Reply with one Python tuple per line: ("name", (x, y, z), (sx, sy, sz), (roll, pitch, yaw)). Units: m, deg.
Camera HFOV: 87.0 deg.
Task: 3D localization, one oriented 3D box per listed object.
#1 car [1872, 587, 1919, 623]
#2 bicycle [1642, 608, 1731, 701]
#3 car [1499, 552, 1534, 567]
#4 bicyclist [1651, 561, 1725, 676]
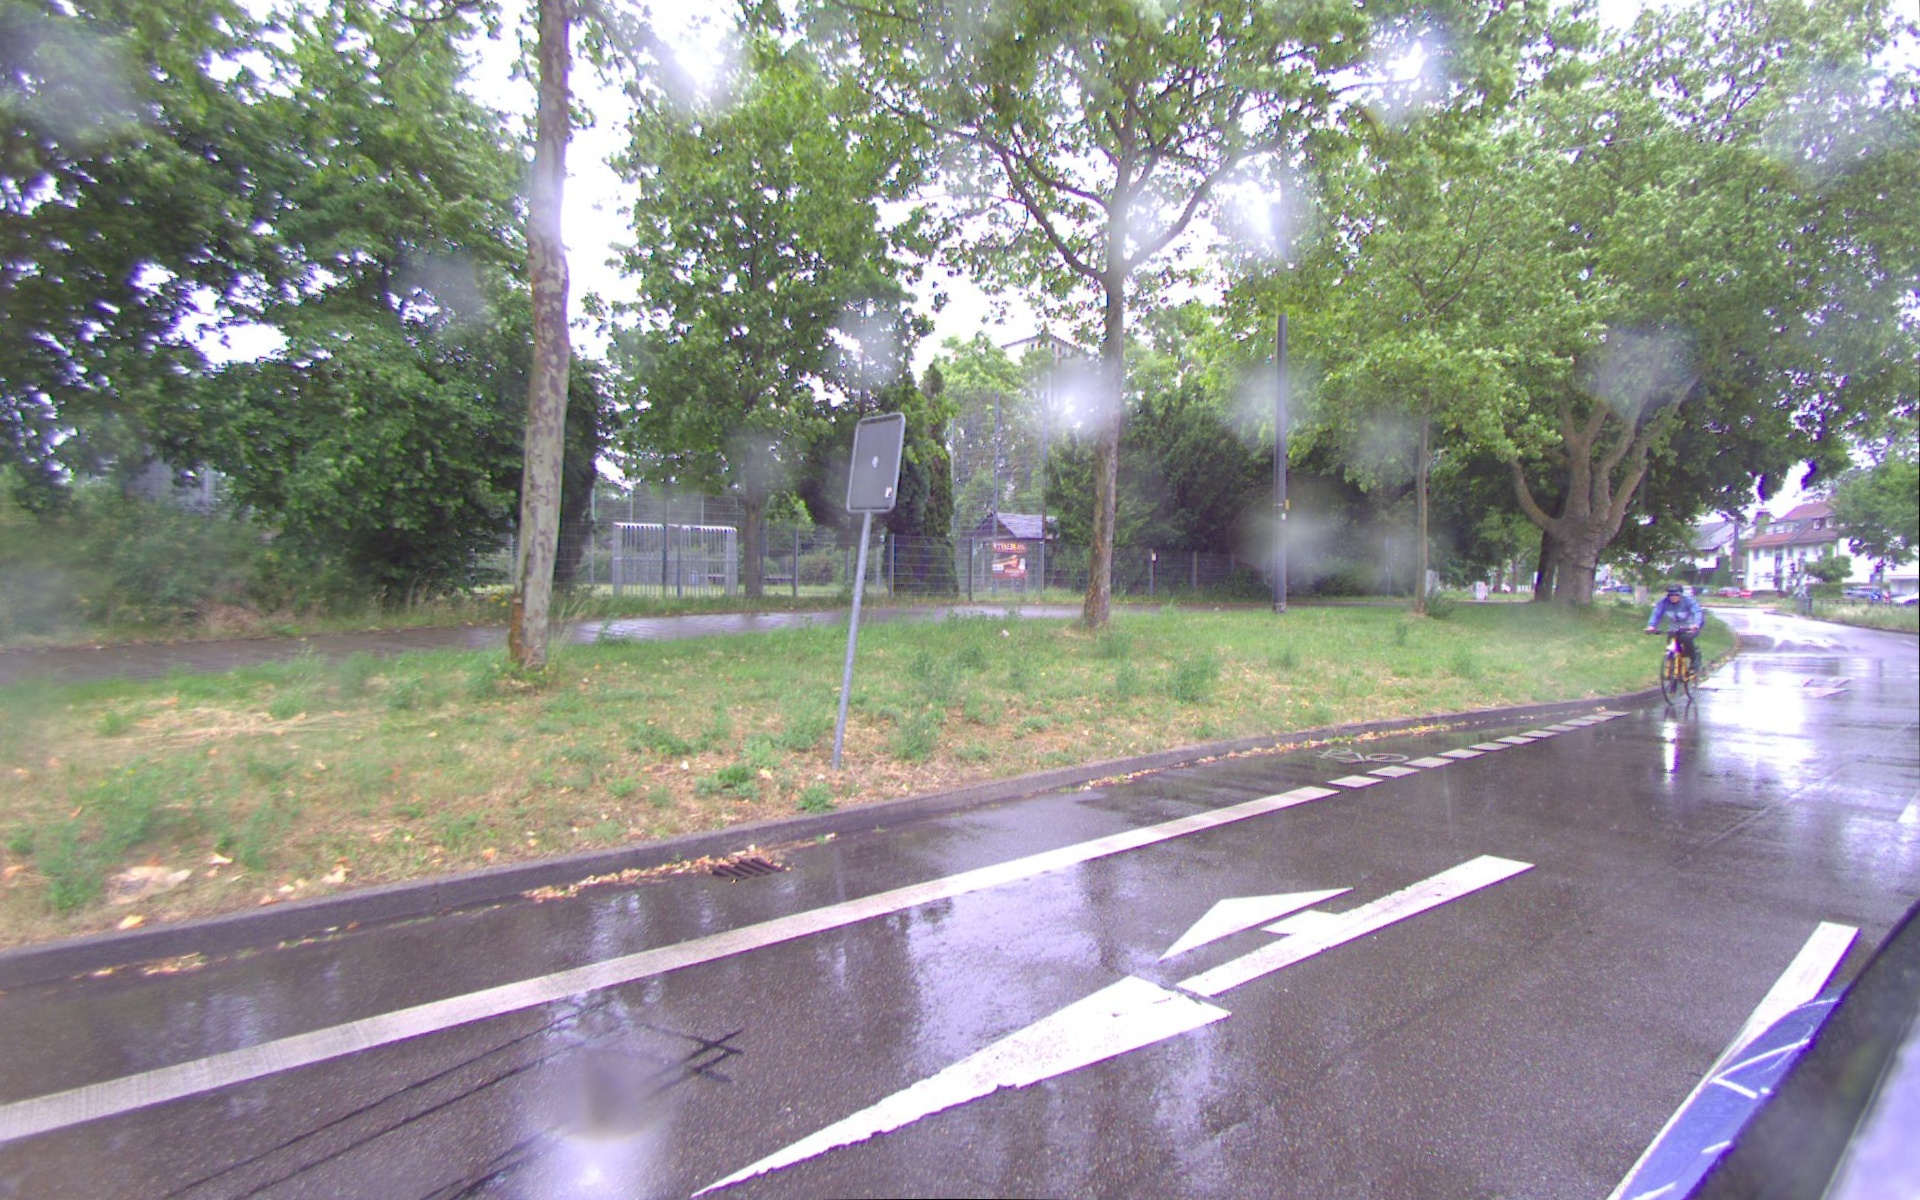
("car", (39.350, 0.199, 40.588), (4.025, 1.438, 1.652), (0, 0, 39))
("bicycle", (10.016, 0.710, 13.931), (1.854, 1.131, 0.691), (-1, 1, -44))
("car", (73.676, -5.296, 134.034), (3.958, 1.850, 1.983), (0, 0, 25))
("bicyclist", (10.012, 0.234, 13.923), (0.830, 1.525, 0.691), (-1, 1, -44))
